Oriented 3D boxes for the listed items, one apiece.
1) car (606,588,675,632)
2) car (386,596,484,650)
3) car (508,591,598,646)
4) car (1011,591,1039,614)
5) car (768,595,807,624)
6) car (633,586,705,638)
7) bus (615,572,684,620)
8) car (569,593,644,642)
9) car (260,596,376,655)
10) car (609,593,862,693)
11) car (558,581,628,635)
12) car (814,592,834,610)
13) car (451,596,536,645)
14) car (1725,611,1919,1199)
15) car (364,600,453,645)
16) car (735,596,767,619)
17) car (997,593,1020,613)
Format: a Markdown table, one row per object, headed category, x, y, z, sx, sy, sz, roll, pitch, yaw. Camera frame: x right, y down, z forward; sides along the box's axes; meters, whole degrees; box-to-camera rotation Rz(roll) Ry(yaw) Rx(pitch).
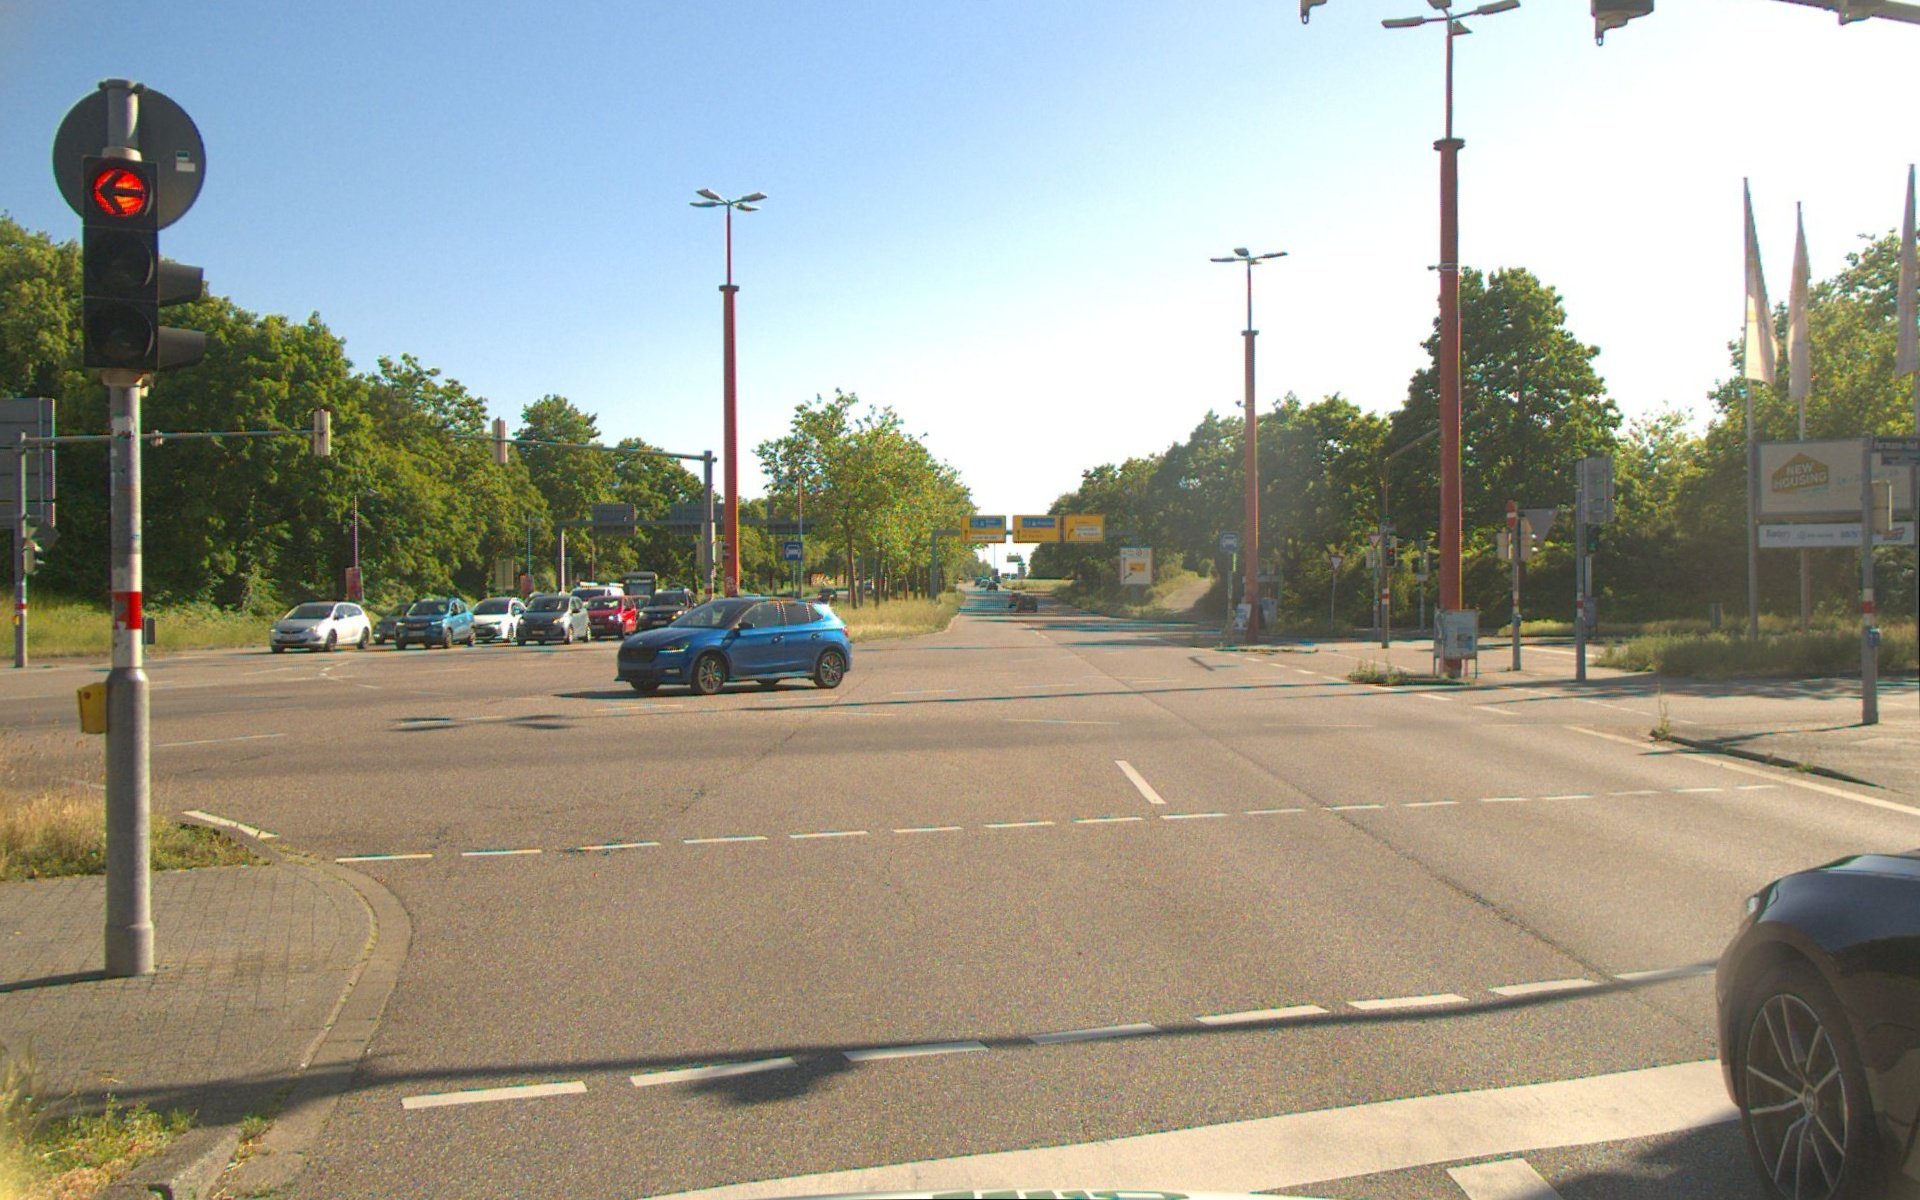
| category | x | y | z | sx | sy | sz | roll | pitch | yaw |
| --- | --- | --- | --- | --- | --- | --- | --- | --- | --- |
| car | -12.404 | 0.373 | 64.426 | 1.862 | 1.658 | 4.000 | 0 | 0 | 1 |
| car | -16.103 | 0.689 | 50.871 | 1.764 | 1.542 | 3.858 | -2 | 0 | 0 |
| car | -12.768 | 0.557 | 52.083 | 1.836 | 1.577 | 4.027 | -2 | 1 | -1 |
| car | 5.235 | 0.191 | 133.705 | 1.953 | 1.764 | 3.999 | 1 | 0 | -1 |
| car | -9.848 | 0.500 | 94.558 | 1.847 | 1.570 | 3.999 | -2 | 0 | -1 |
| car | -9.838 | 0.391 | 56.206 | 1.757 | 1.654 | 4.142 | -2 | 0 | -2 |
| bus | -22.785 | -0.246 | 122.043 | 2.591 | 3.318 | 12.535 | 1 | 0 | 0 |
| car | -12.445 | 0.589 | 58.425 | 1.838 | 1.579 | 3.998 | -3 | 0 | -2 |
| car | -19.541 | 0.743 | 50.536 | 1.838 | 1.681 | 4.219 | -1 | 0 | 0 |
| car | -3.474 | 0.656 | 26.131 | 1.551 | 1.445 | 3.886 | 1 | 0 | 41 |
| car | -15.620 | 0.337 | 70.582 | 1.922 | 2.193 | 5.080 | -1 | 0 | -1 |
| car | -14.855 | 0.086 | 180.825 | 1.800 | 1.869 | 3.960 | 0 | 0 | -1 |
| car | -16.031 | 0.669 | 57.023 | 1.863 | 1.582 | 3.998 | -1 | 0 | -2 |
| car | 2.896 | 0.767 | 2.303 | 1.727 | 1.466 | 4.295 | 1 | 0 | 1 |
| car | -19.887 | 0.781 | 59.789 | 1.846 | 1.539 | 4.000 | -1 | 0 | 0 |
| car | -15.401 | 0.547 | 122.106 | 1.847 | 1.570 | 3.999 | -2 | 0 | -1 |
| car | 4.447 | 0.253 | 152.766 | 1.953 | 1.764 | 3.999 | 1 | 0 | -1 |
